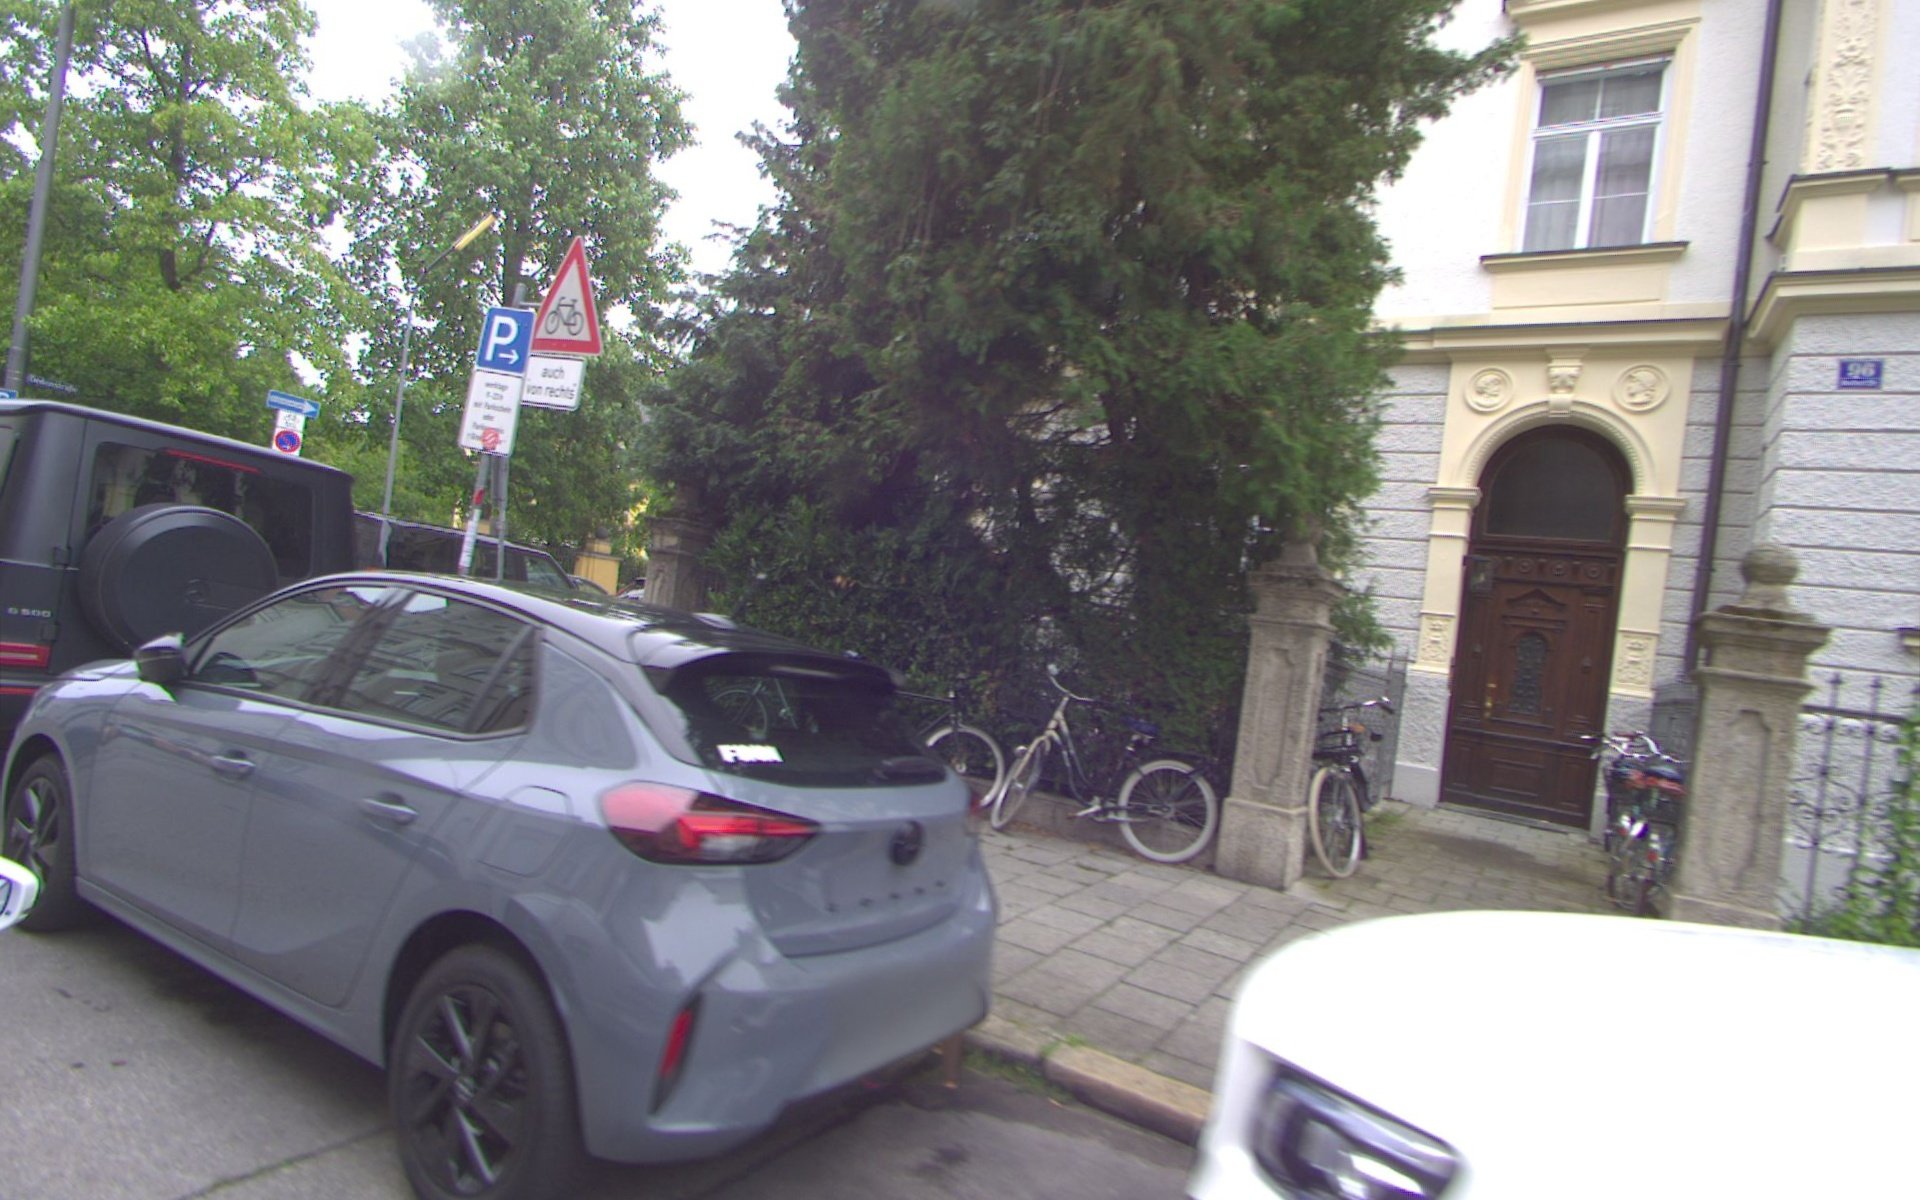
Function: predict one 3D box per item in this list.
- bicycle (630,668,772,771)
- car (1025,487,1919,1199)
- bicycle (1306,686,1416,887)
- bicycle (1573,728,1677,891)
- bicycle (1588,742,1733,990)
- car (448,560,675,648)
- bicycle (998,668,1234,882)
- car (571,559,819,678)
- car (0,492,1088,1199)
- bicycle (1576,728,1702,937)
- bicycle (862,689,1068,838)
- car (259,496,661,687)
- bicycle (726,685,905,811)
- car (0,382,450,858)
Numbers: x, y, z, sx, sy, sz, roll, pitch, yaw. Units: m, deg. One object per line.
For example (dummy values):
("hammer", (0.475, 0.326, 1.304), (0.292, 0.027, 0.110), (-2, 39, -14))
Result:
("bicycle", (-2.248, 1.013, 8.716), (1.105, 0.691, 0.513), (7, 0, 33))
("car", (2.386, 1.023, 1.093), (4.341, 1.788, 1.727), (6, -3, 33))
("bicycle", (2.885, 1.273, 7.161), (0.481, 1.212, 1.492), (7, -3, 26))
("bicycle", (5.691, 1.734, 8.673), (0.481, 1.122, 1.702), (7, 0, 29))
("bicycle", (3.925, 1.425, 5.706), (0.448, 1.112, 1.311), (7, 0, 30))
("car", (-8.842, 0.172, 22.794), (1.889, 1.500, 4.604), (6, -1, 27))
("bicycle", (1.006, 1.082, 6.472), (1.328, 1.108, 0.514), (7, 0, 14))
("car", (-4.645, 0.410, 18.322), (1.929, 1.670, 4.247), (9, 1, 25))
("car", (-1.616, 0.641, 3.562), (3.569, 1.535, 1.728), (7, -3, 30))
("bicycle", (4.706, 1.538, 7.049), (0.481, 1.197, 1.703), (7, -2, 30))
("bicycle", (0.021, 1.127, 7.186), (1.332, 0.791, 0.513), (7, 0, 33))
("car", (-6.478, 0.008, 13.694), (1.870, 1.974, 4.540), (9, 1, 25))
("bicycle", (-1.161, 1.142, 7.986), (1.332, 0.743, 0.513), (7, 0, 33))
("car", (-5.488, -0.081, 6.120), (4.588, 1.977, 1.955), (8, -1, 32))
